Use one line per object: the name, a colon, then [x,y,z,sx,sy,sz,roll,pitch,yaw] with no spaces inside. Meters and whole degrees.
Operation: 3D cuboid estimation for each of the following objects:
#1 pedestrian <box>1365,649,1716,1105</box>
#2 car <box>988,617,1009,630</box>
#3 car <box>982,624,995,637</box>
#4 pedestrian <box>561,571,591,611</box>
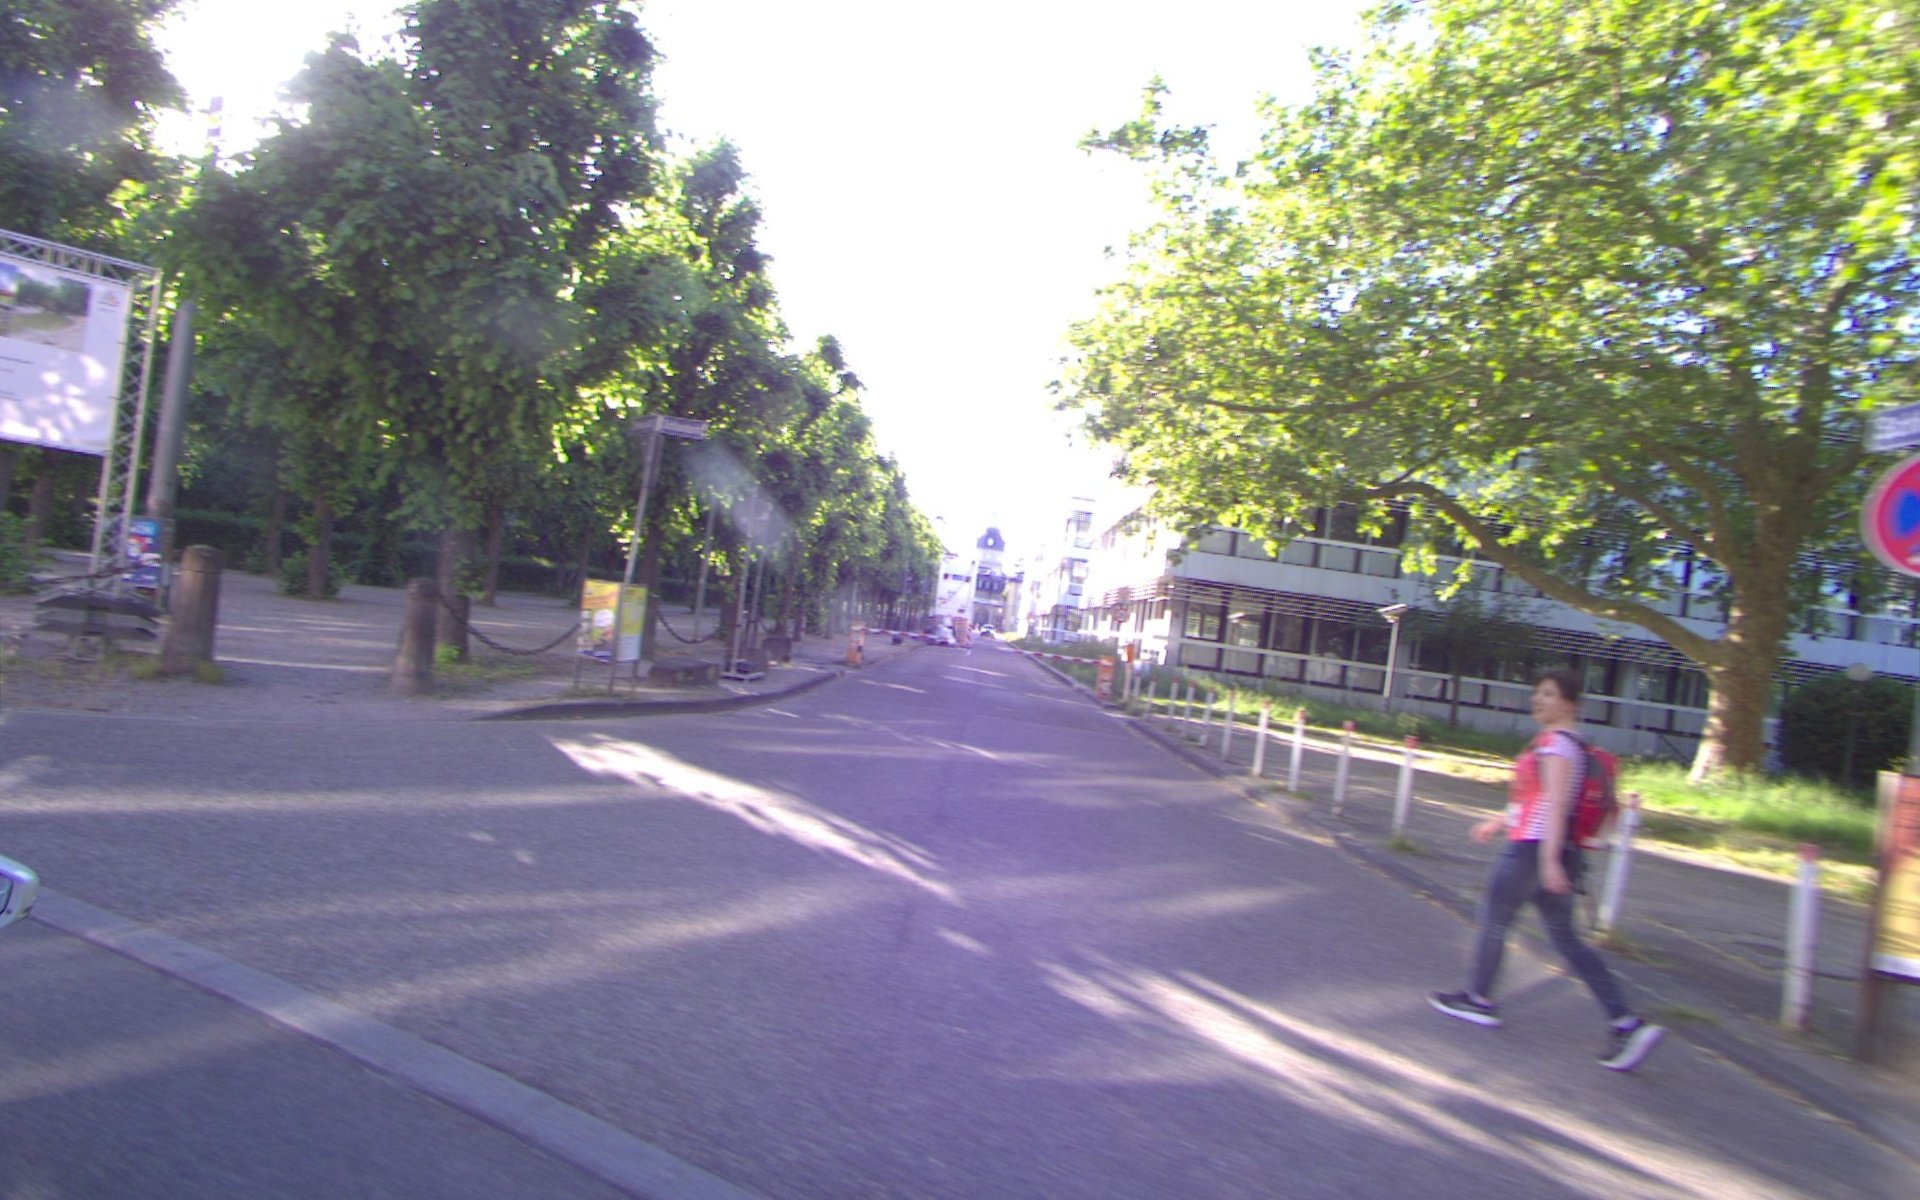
pedestrian: [2.477,1.105,4.359,0.703,1.642,0.932,8,-1,-30]
car: [7.749,4.709,201.518,3.925,2.037,2.001,9,0,5]
car: [3.553,3.812,126.446,1.432,1.516,4.001,7,-1,1]
pedestrian: [-16.535,-0.372,43.339,0.824,1.602,0.681,7,0,-2]
